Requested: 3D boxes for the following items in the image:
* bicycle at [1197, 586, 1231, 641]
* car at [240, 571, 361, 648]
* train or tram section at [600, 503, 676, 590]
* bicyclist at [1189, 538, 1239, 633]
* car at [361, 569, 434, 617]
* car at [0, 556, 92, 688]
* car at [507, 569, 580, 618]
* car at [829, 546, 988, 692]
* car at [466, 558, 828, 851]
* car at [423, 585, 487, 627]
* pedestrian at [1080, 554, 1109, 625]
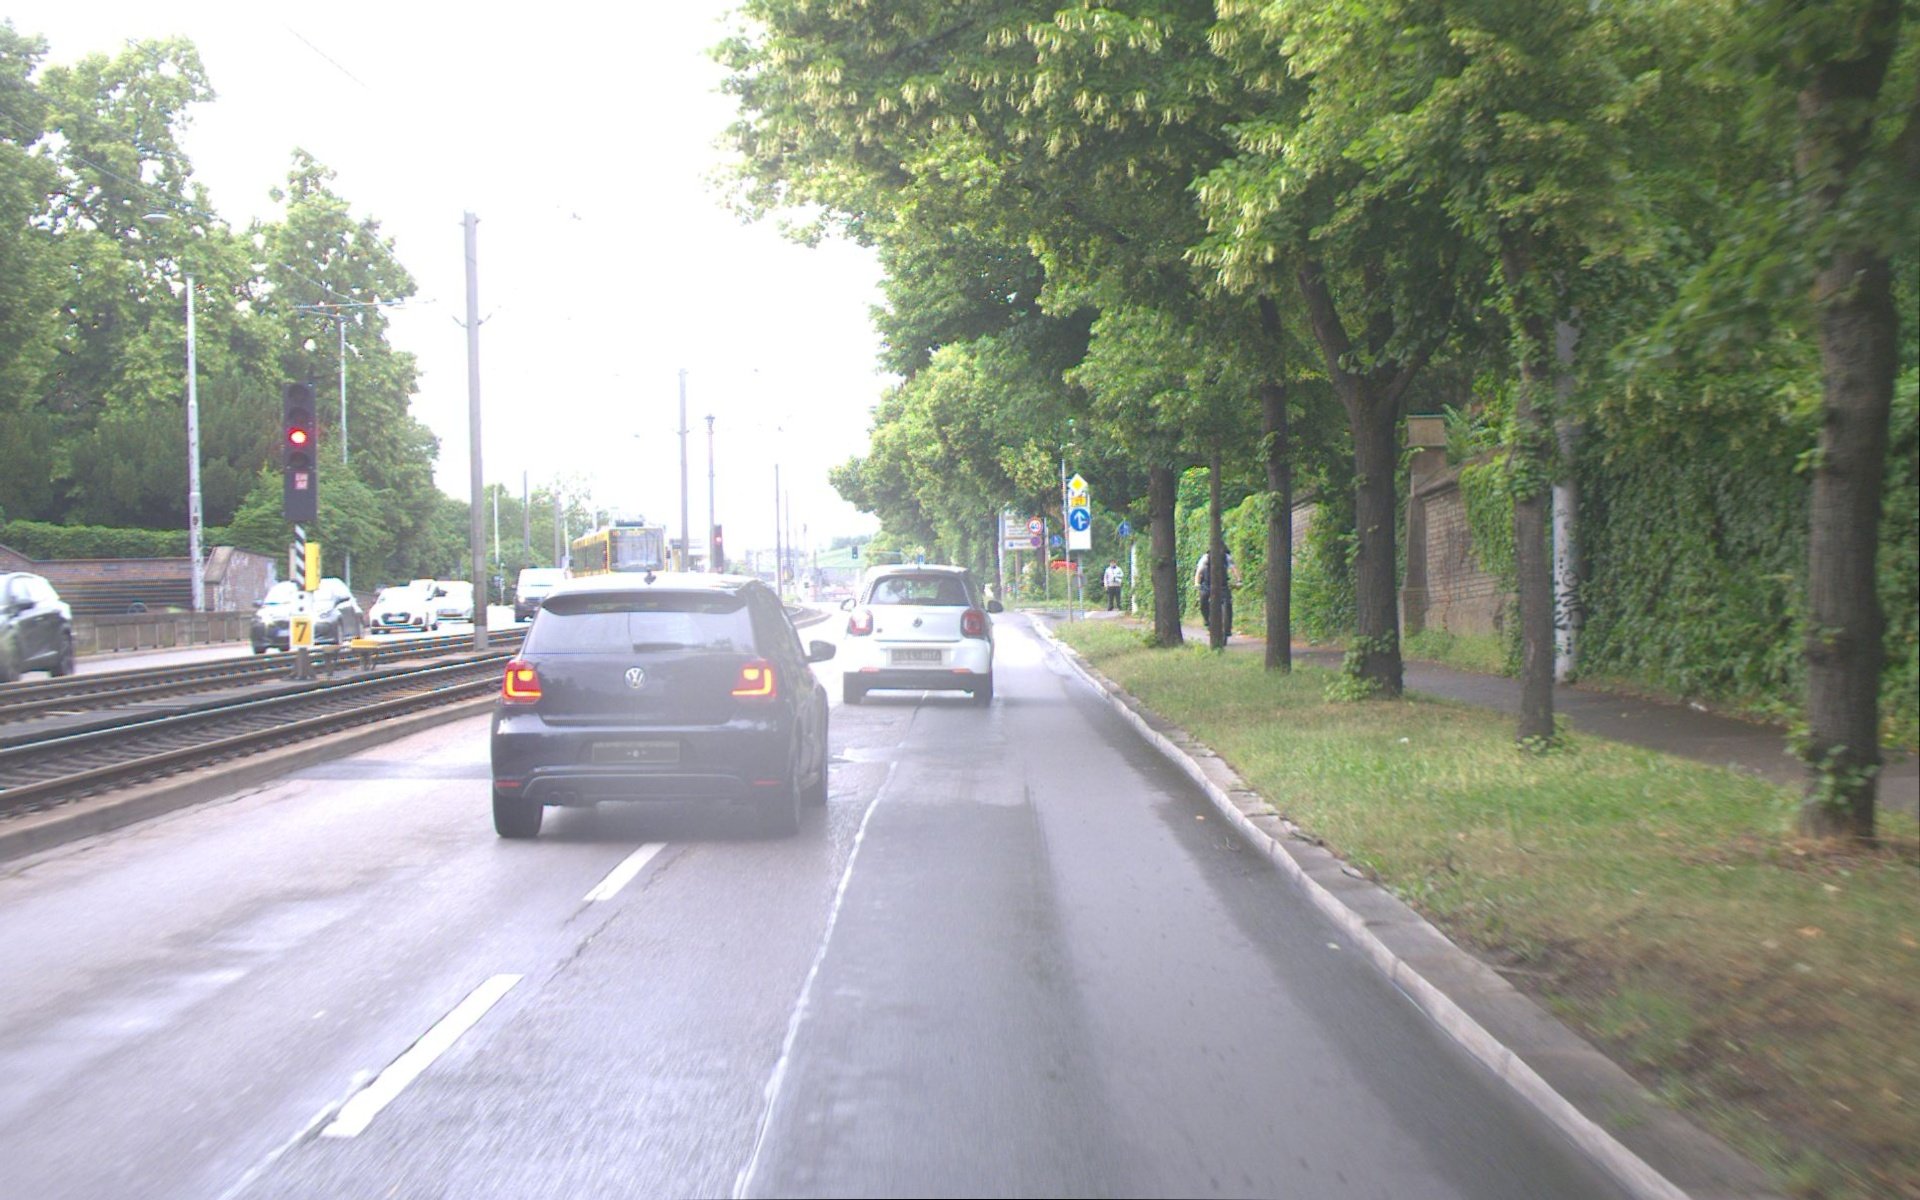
[{"bbox_3d":[4.354,0.219,59.001,0.407,0.899,2.099,-1,1,0],"label":"bicycle"},{"bbox_3d":[-13.295,0.175,69.477,1.681,1.456,3.608,-1,1,1],"label":"car"},{"bbox_3d":[-13.749,-2.263,147.234,2.832,3.593,9.272,0,1,-3],"label":"train or tram section"},{"bbox_3d":[4.355,-0.258,58.997,0.763,1.610,0.999,-1,1,0],"label":"bicyclist"},{"bbox_3d":[-17.411,-0.228,106.544,1.616,1.429,4.000,0,1,0],"label":"car"},{"bbox_3d":[-12.949,0.270,45.126,1.835,1.650,4.239,-1,1,3],"label":"car"},{"bbox_3d":[-14.696,-0.259,121.578,1.993,1.656,5.127,0,1,0],"label":"car"},{"bbox_3d":[-0.537,0.180,38.776,1.676,1.525,3.721,1,1,0],"label":"car"},{"bbox_3d":[-1.706,0.522,19.891,1.794,1.480,3.965,1,1,-1],"label":"car"},{"bbox_3d":[-18.025,0.198,122.848,1.728,1.438,4.000,0,1,0],"label":"car"},{"bbox_3d":[5.663,-0.449,145.006,1.164,2.967,0.948,0,1,0],"label":"pedestrian"}]
